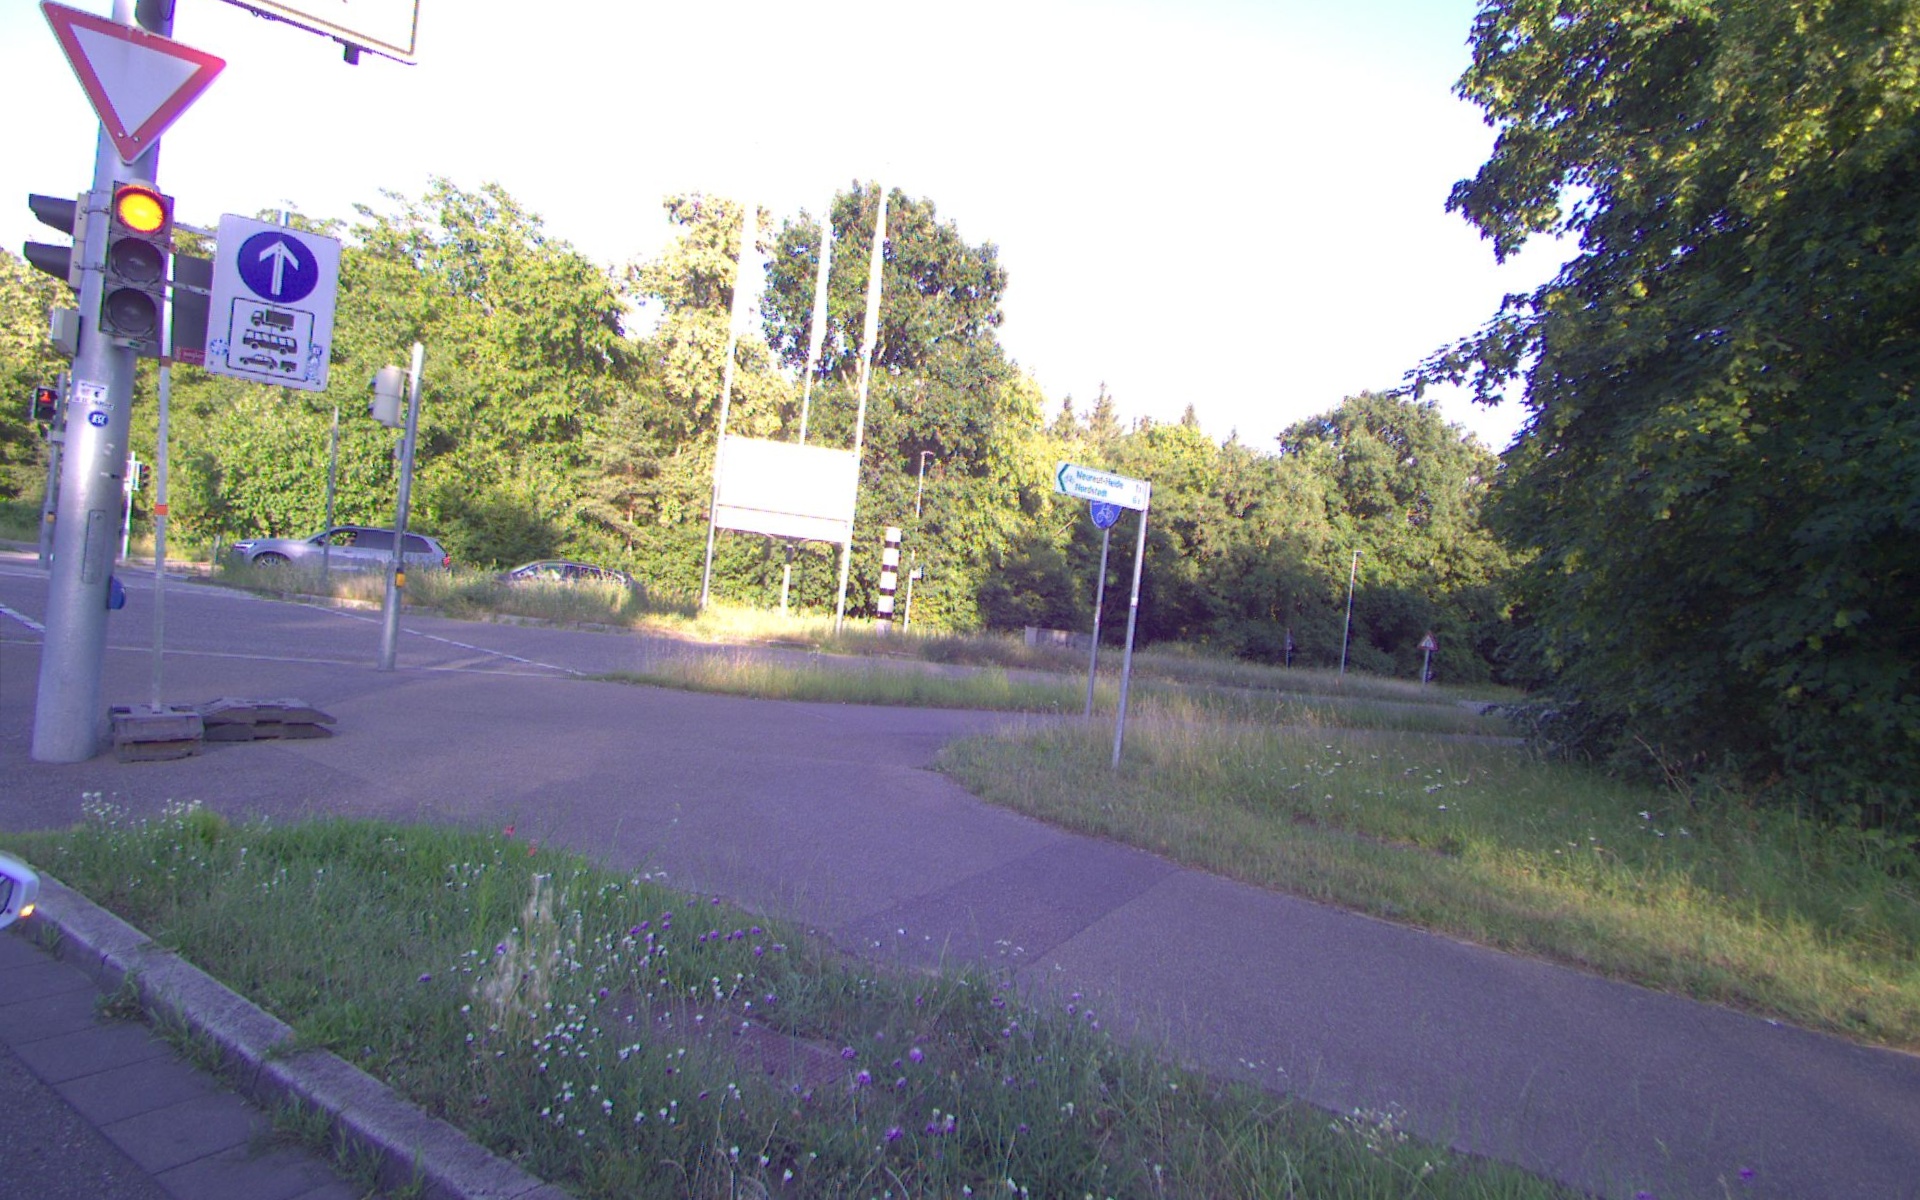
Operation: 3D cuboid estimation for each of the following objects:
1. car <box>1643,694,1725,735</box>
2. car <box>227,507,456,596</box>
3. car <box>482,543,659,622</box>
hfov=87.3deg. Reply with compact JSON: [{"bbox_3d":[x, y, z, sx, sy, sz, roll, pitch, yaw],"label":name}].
[{"bbox_3d":[35.181,5.580,48.846,4.641,1.548,1.979,8,-1,-39],"label":"car"},{"bbox_3d":[-15.918,-1.209,25.995,4.790,1.618,1.980,7,0,-37],"label":"car"},{"bbox_3d":[-9.969,-0.440,25.834,3.840,1.507,1.754,7,-1,-36],"label":"car"}]
